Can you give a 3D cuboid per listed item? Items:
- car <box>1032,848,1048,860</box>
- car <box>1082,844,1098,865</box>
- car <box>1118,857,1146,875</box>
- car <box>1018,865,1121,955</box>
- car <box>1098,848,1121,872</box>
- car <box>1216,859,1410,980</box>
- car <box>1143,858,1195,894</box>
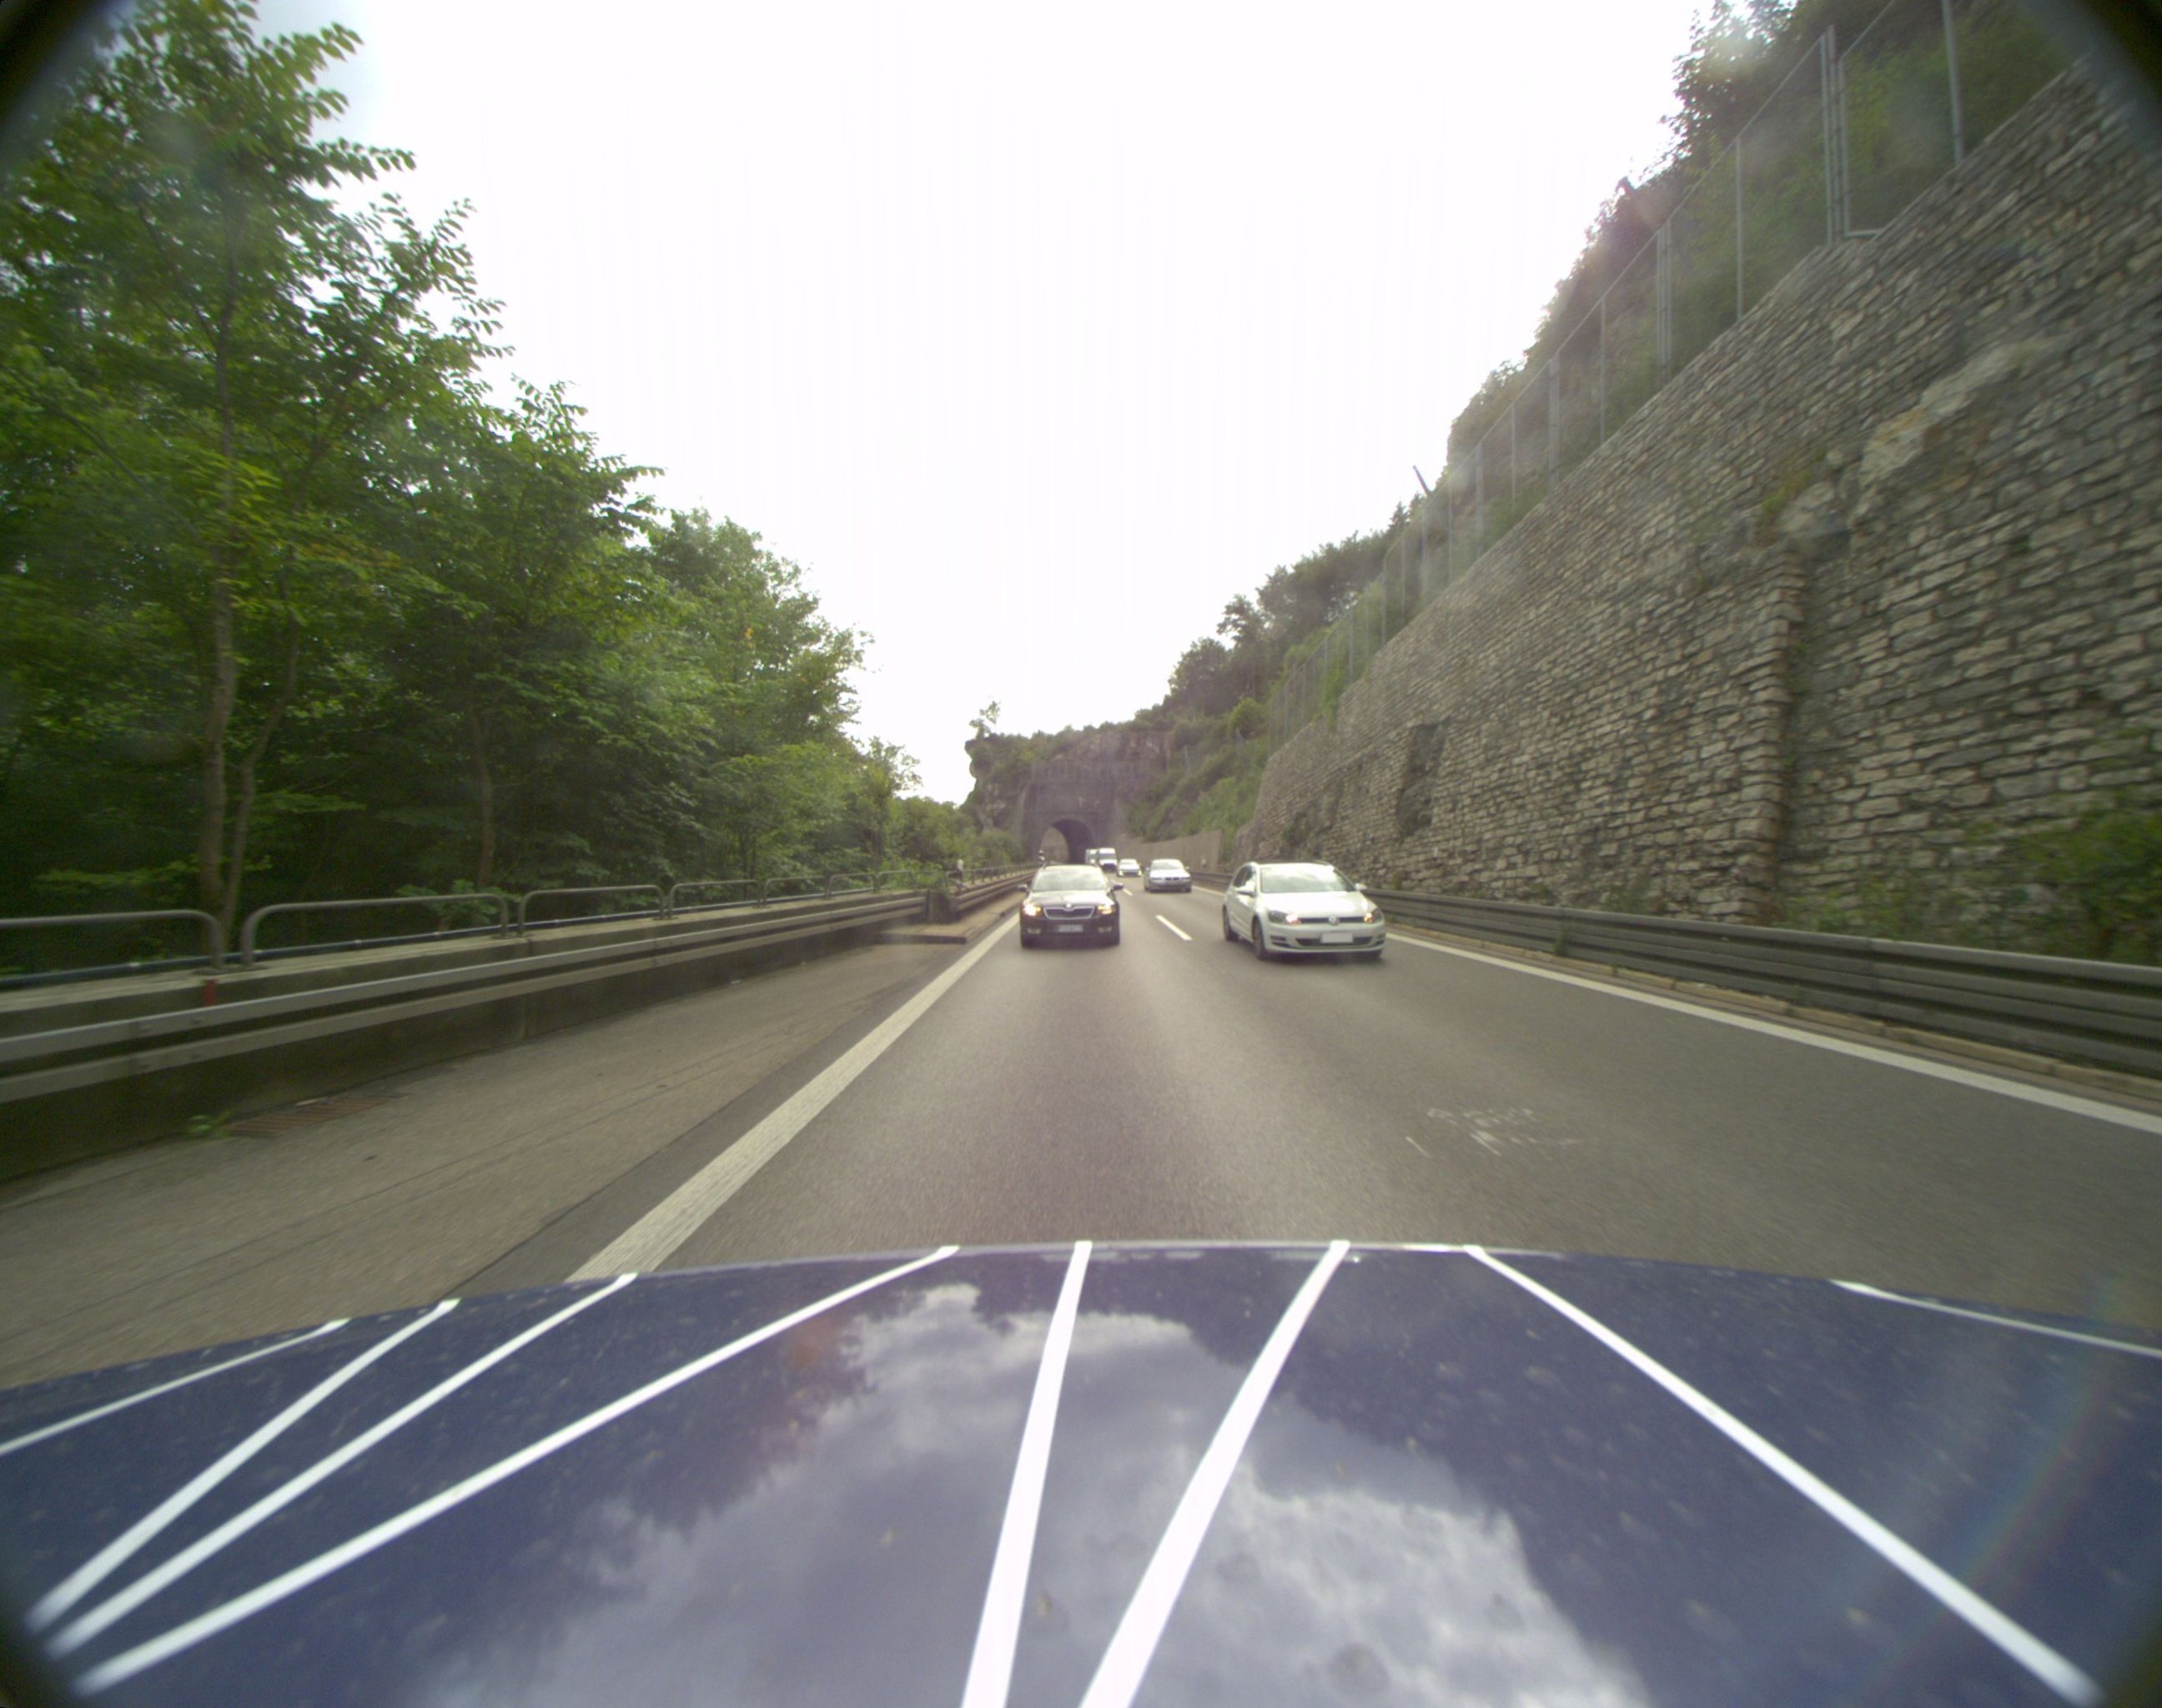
[{"bbox_3d":[-8.458,0.069,155.000,2.676,2.408,6.117,-2,0,-8],"label":"car"},{"bbox_3d":[1.201,0.016,99.072,1.868,2.444,4.983,-2,2,2],"label":"car"},{"bbox_3d":[4.246,0.980,63.586,1.923,1.452,4.230,-2,0,-1],"label":"car"},{"bbox_3d":[-0.137,0.972,14.968,1.677,1.418,4.473,-2,0,1],"label":"car"},{"bbox_3d":[2.999,0.607,81.559,1.869,2.444,4.980,-2,2,-3],"label":"car"},{"bbox_3d":[3.434,0.872,12.200,1.849,1.473,4.628,-1,1,2],"label":"car"},{"bbox_3d":[3.949,0.958,34.902,1.832,1.448,5.135,-2,0,1],"label":"car"}]
